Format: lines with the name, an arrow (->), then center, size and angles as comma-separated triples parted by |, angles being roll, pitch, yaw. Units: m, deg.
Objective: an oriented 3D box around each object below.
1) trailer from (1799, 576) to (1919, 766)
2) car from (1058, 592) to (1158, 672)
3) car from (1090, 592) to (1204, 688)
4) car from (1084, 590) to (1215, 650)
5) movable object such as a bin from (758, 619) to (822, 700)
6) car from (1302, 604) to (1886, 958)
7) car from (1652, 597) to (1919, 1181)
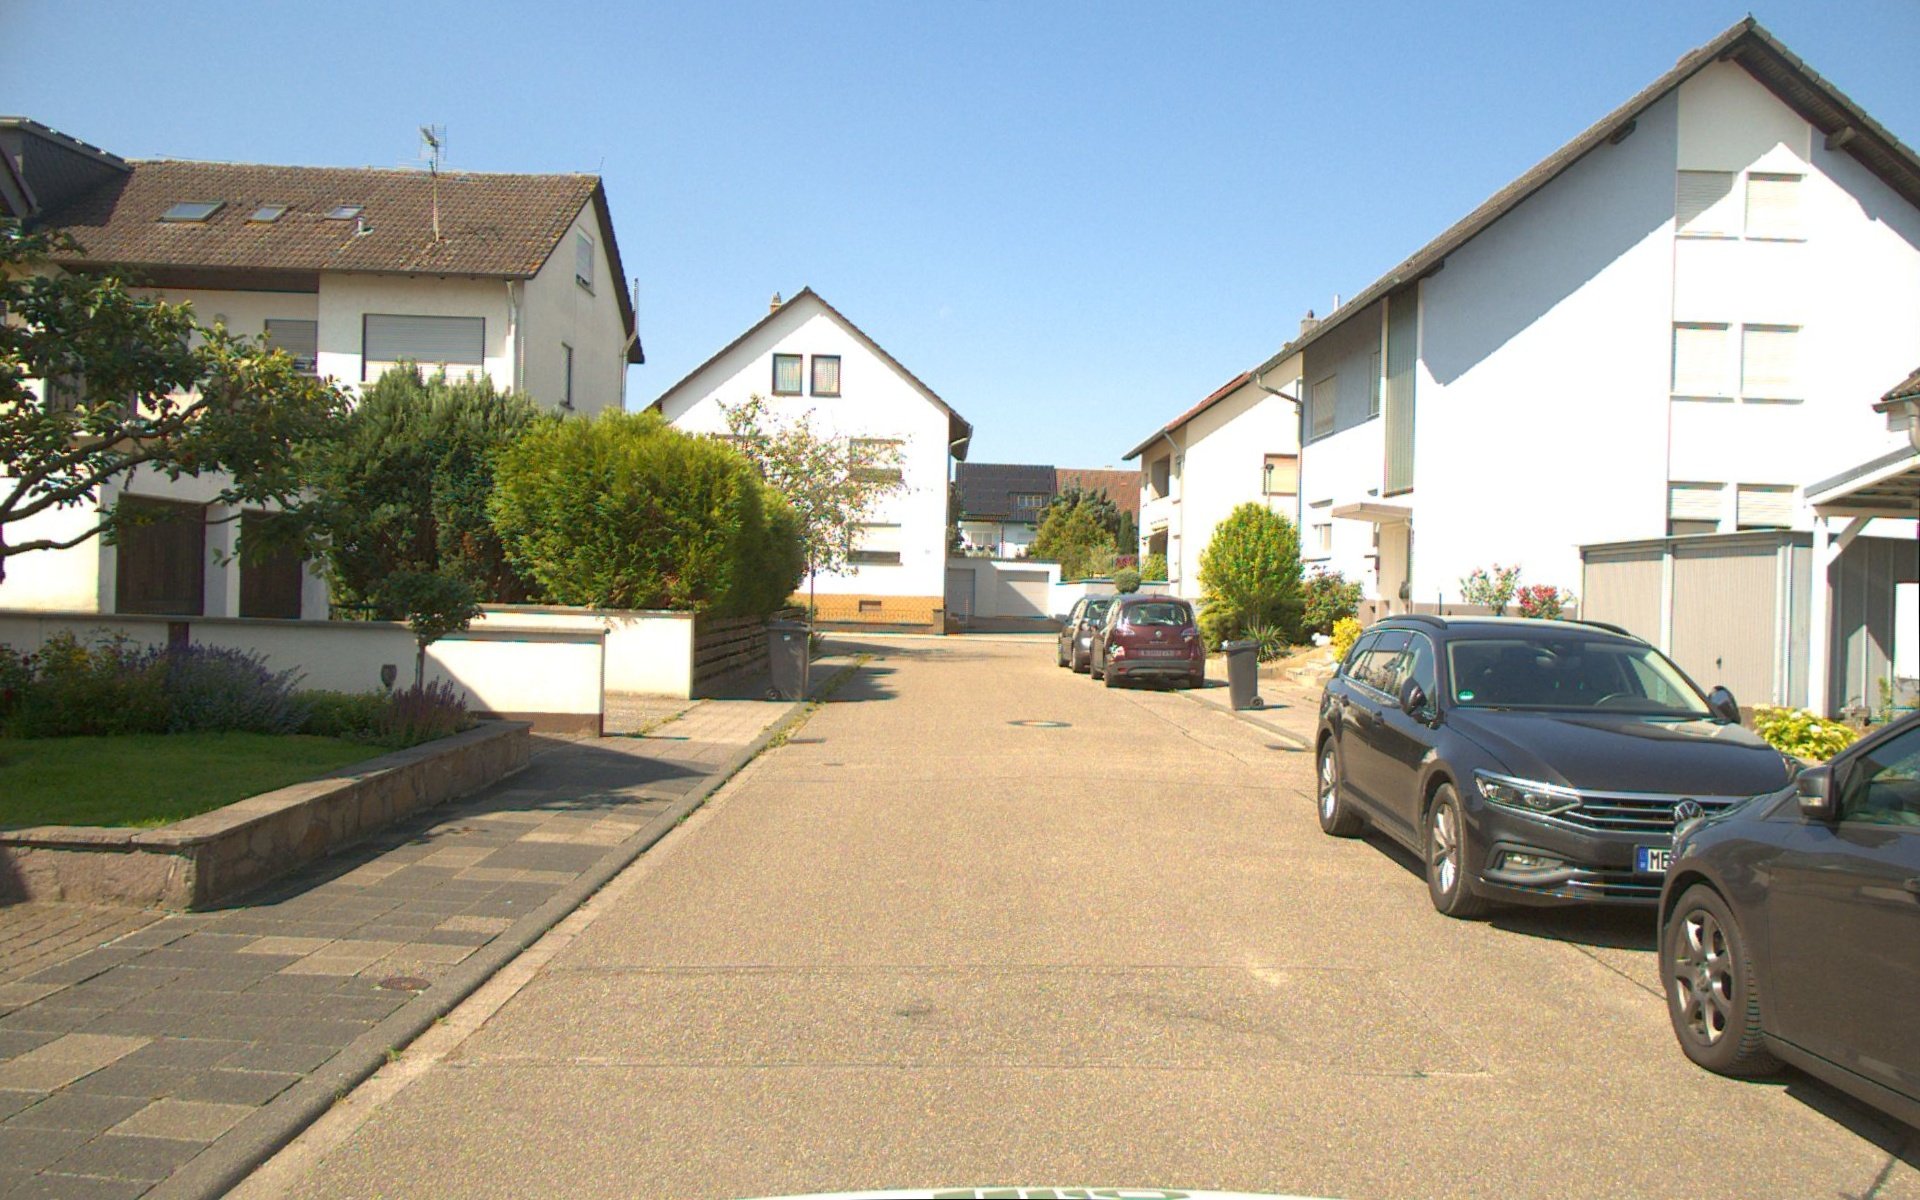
trailer -> 9.718, 0.664, 15.708 | 2.776, 1.719, 1.402 | 1, 0, 0
car -> 3.110, 0.645, 35.450 | 1.612, 1.573, 4.046 | 1, 0, -2
car -> 3.375, 0.682, 30.496 | 1.611, 1.609, 4.147 | 1, 0, 0
car -> 5.488, 0.592, 47.611 | 3.776, 1.609, 1.625 | 2, 0, -42
movable object such as a bin -> -2.333, 0.815, 22.770 | 0.802, 1.082, 0.611 | 1, 0, -1
car -> 3.280, 0.807, 9.593 | 1.682, 1.463, 4.503 | 3, 0, 1
car -> 3.355, 0.814, 3.946 | 1.609, 1.504, 3.999 | 3, 1, -1
